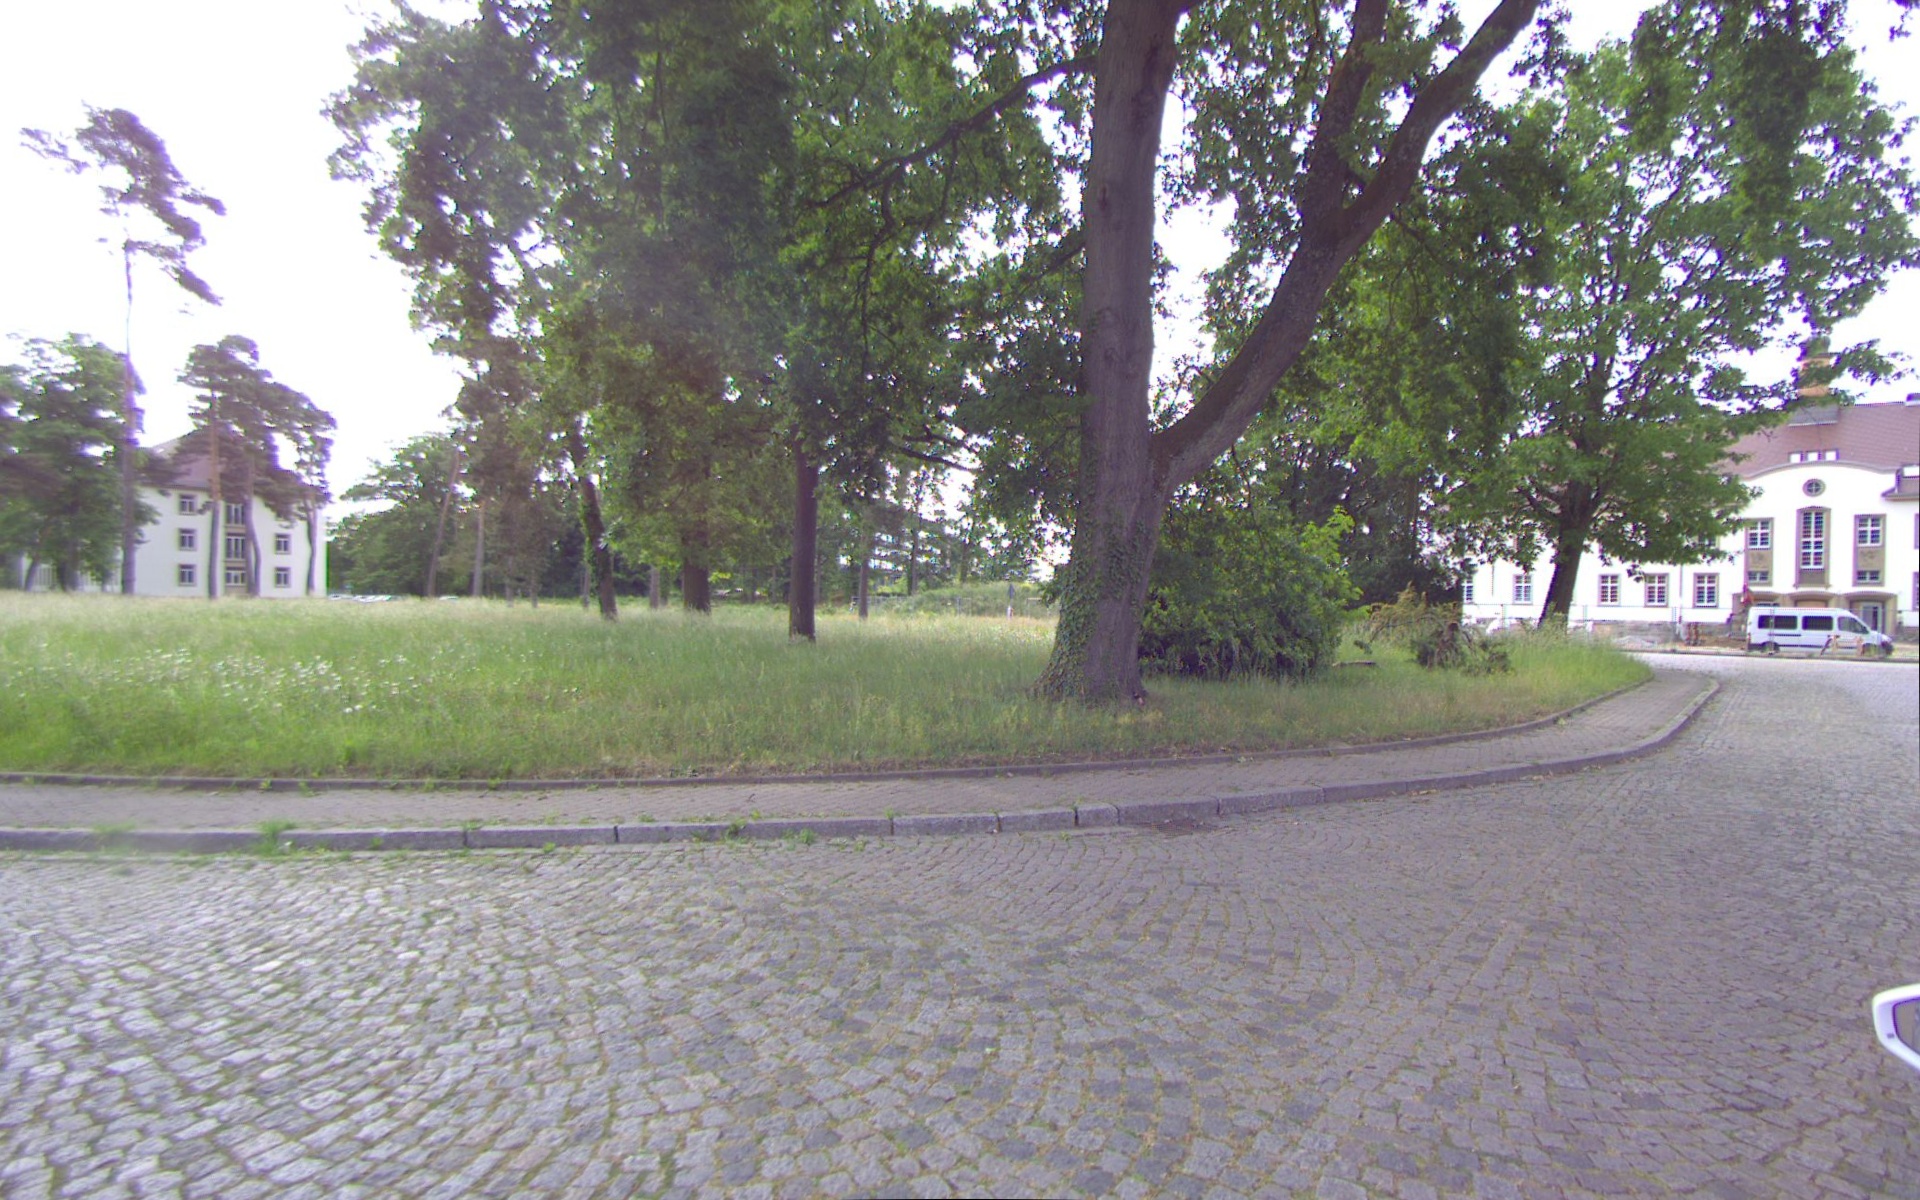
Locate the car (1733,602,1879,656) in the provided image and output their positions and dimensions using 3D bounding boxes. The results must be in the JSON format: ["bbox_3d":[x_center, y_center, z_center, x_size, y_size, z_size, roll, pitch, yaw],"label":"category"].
[{"bbox_3d":[40.196,1.335,47.851,5.202,2.375,1.900,1,0,41],"label":"car"}]

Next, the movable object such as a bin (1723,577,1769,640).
[{"bbox_3d":[50.308,0.543,64.378,1.967,3.821,5.300,1,0,35],"label":"movable object such as a bin"}]
